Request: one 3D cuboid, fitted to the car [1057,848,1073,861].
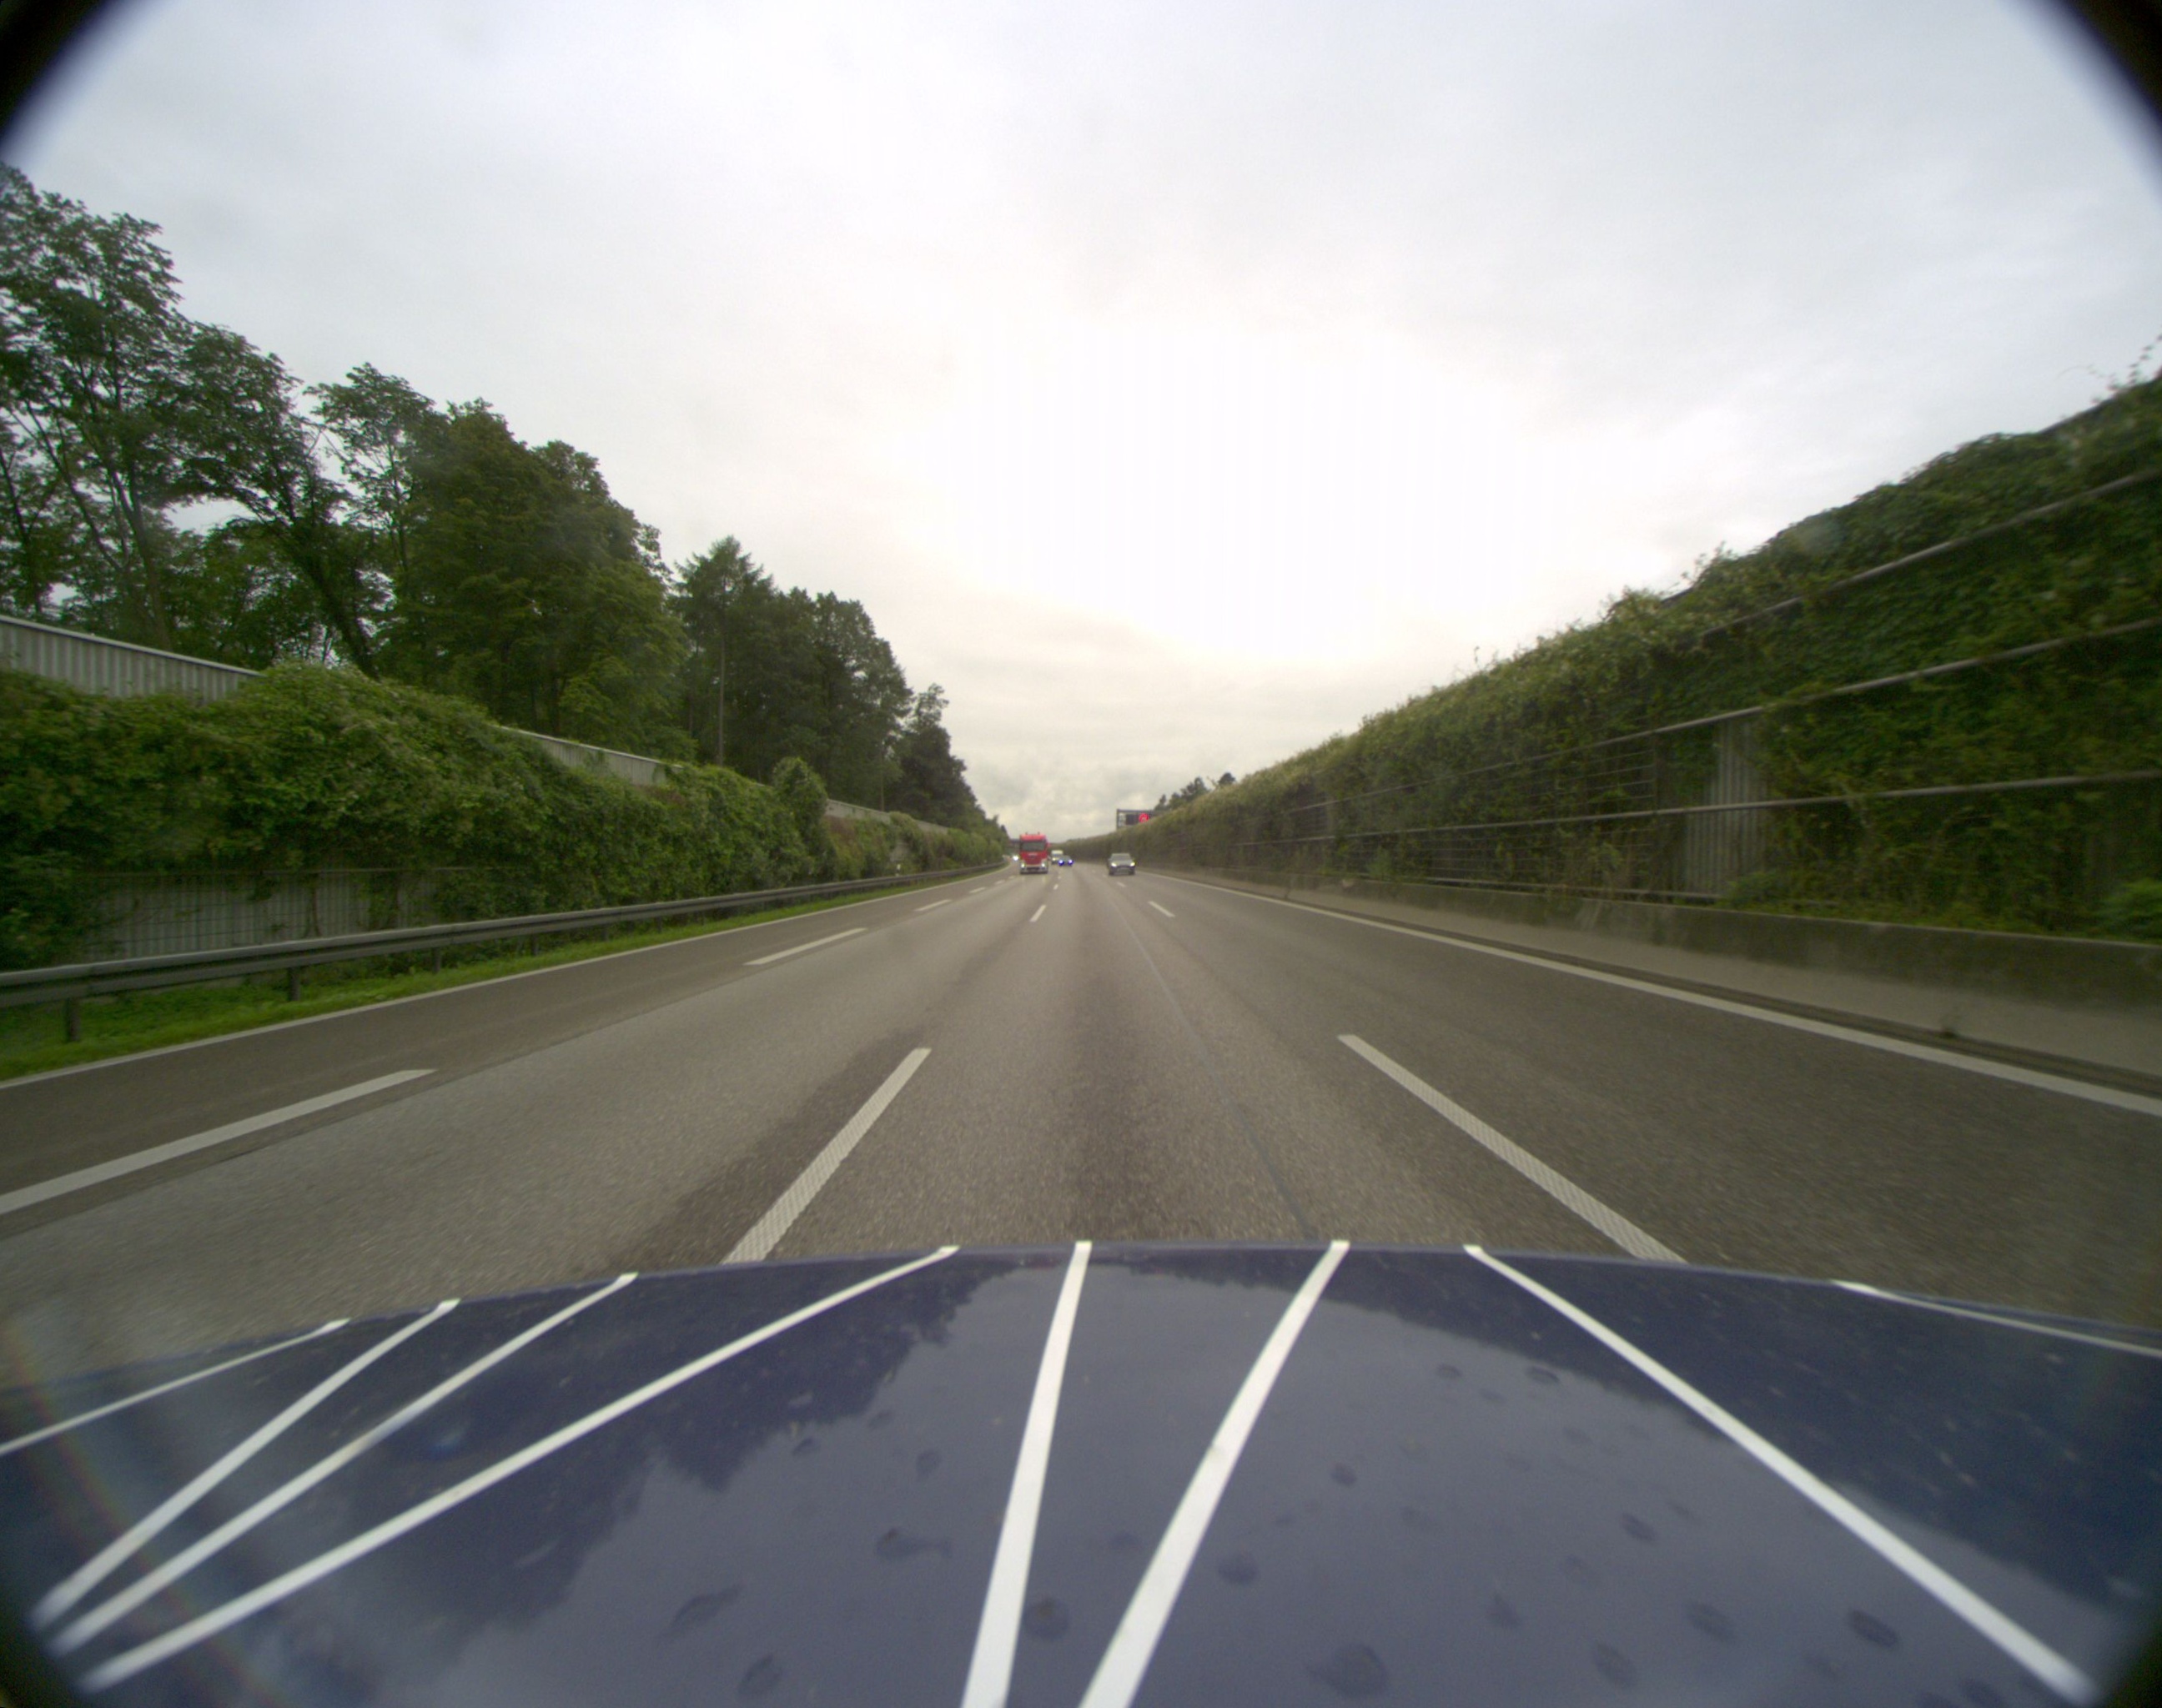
[{"bbox_3d":[-2.909,-0.006,136.563,2.769,2.227,6.544,-1,1,-2],"label":"car"}]

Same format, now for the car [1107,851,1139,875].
[{"bbox_3d":[3.195,0.679,58.895,2.023,1.595,5.438,-2,1,-1],"label":"car"}]

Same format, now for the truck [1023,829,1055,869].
[{"bbox_3d":[-4.135,-0.624,76.363,2.709,3.691,9.838,-1,2,-1],"label":"truck"}]

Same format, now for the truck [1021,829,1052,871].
[{"bbox_3d":[-4.136,-0.447,71.298,2.709,3.809,4.197,0,2,0],"label":"truck"}]

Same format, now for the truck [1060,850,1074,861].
[{"bbox_3d":[-2.118,0.229,112.463,1.826,1.535,3.997,-1,2,-4],"label":"truck"}]
